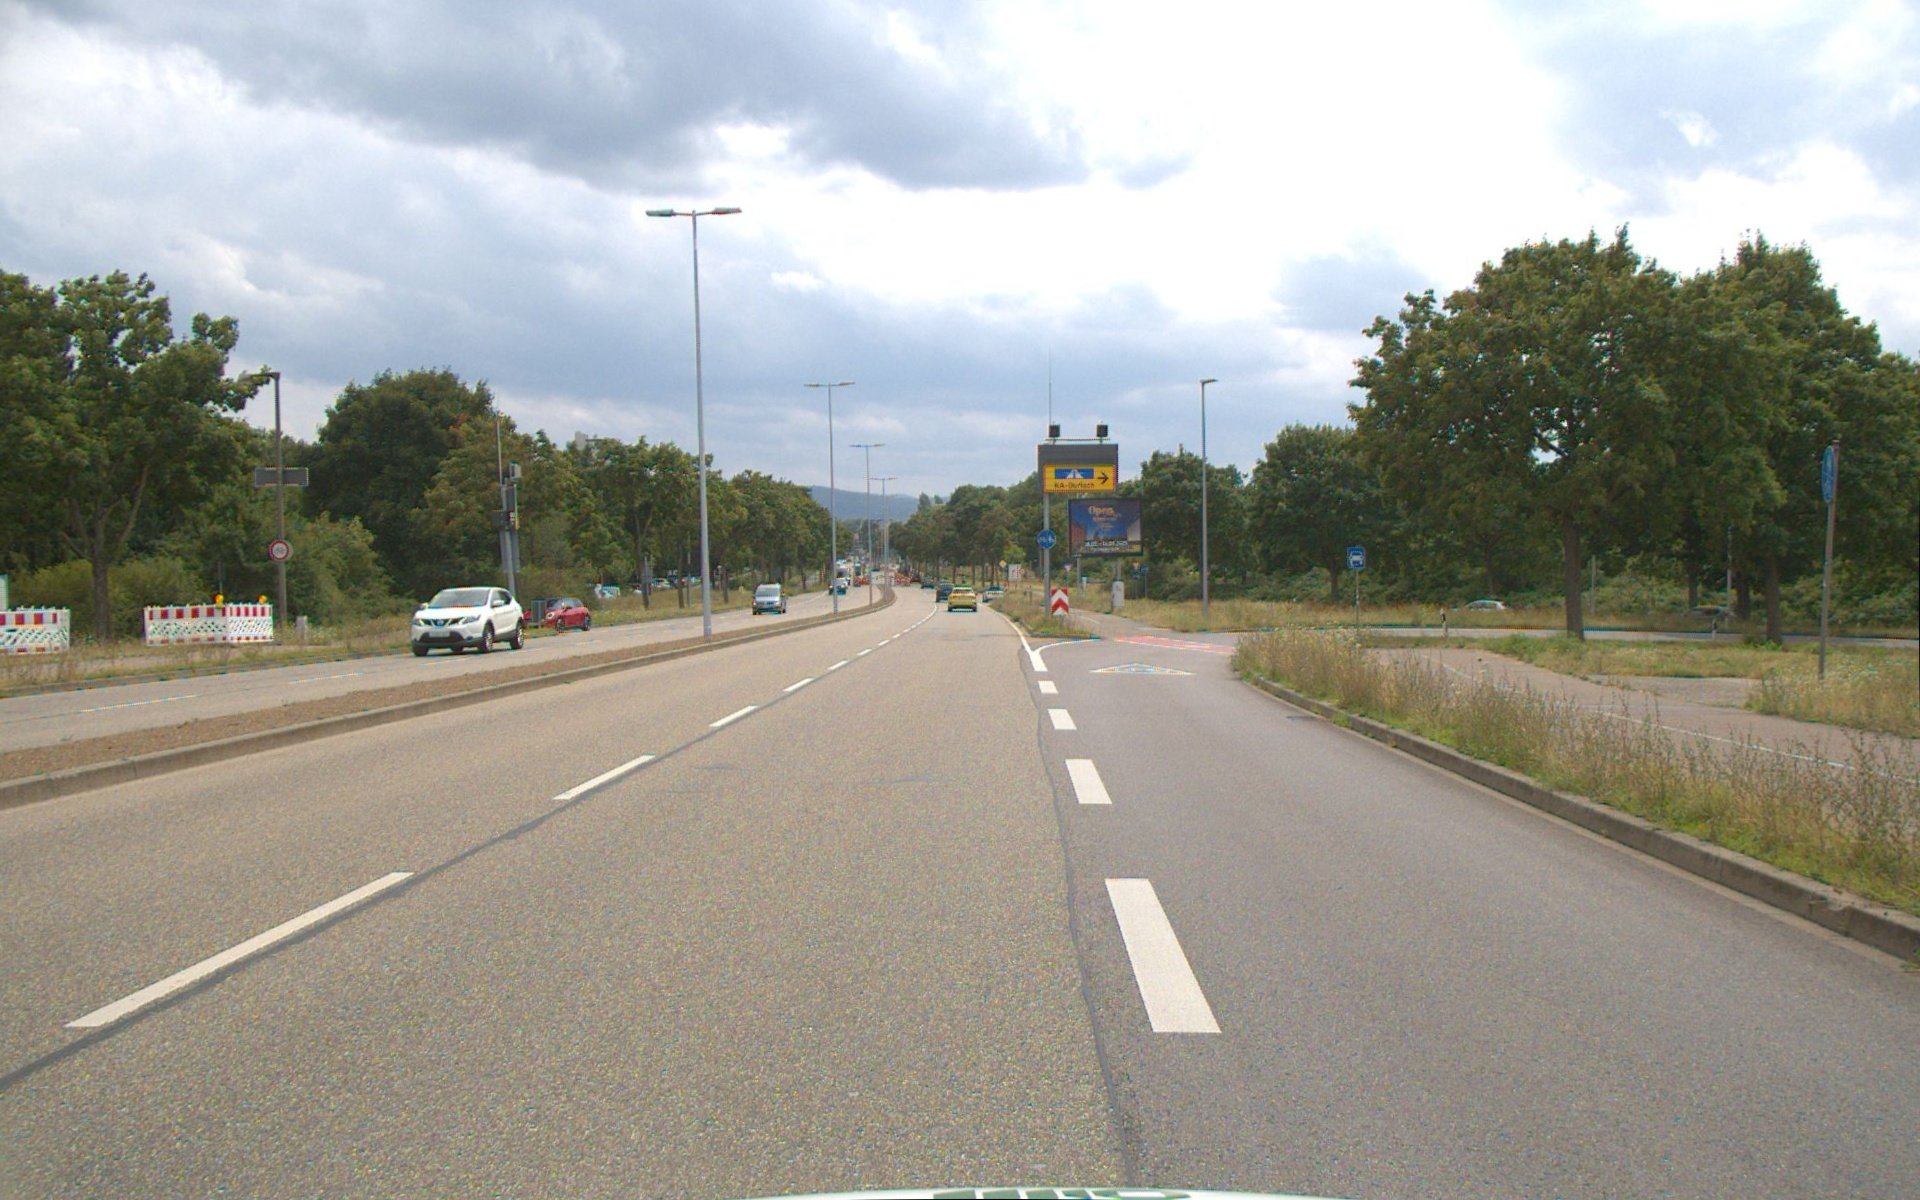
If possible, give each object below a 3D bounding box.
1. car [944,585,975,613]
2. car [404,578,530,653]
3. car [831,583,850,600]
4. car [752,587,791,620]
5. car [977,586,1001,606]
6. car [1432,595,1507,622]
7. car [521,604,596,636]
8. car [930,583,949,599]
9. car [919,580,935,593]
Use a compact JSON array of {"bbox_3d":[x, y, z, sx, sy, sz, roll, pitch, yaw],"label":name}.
[{"bbox_3d":[-0.037,-0.084,100.617,1.757,1.589,3.999,0,1,-2],"label":"car"},{"bbox_3d":[-11.943,0.333,40.371,1.659,1.657,4.385,0,1,1],"label":"car"},{"bbox_3d":[-14.065,-1.029,195.335,1.953,1.843,4.797,-1,1,-1],"label":"car"},{"bbox_3d":[-11.460,0.197,100.788,1.863,1.841,4.540,0,1,0],"label":"car"},{"bbox_3d":[2.626,-0.343,148.996,1.973,1.699,3.999,0,1,-2],"label":"car"},{"bbox_3d":[29.978,0.469,97.352,3.928,1.489,1.762,1,2,41],"label":"car"},{"bbox_3d":[-16.567,0.808,68.397,1.373,1.266,3.894,1,1,14],"label":"car"},{"bbox_3d":[-1.802,-0.762,144.690,1.633,1.292,3.999,0,1,-2],"label":"car"},{"bbox_3d":[-4.448,-1.789,222.404,2.161,1.713,4.000,0,1,-1],"label":"car"}]
